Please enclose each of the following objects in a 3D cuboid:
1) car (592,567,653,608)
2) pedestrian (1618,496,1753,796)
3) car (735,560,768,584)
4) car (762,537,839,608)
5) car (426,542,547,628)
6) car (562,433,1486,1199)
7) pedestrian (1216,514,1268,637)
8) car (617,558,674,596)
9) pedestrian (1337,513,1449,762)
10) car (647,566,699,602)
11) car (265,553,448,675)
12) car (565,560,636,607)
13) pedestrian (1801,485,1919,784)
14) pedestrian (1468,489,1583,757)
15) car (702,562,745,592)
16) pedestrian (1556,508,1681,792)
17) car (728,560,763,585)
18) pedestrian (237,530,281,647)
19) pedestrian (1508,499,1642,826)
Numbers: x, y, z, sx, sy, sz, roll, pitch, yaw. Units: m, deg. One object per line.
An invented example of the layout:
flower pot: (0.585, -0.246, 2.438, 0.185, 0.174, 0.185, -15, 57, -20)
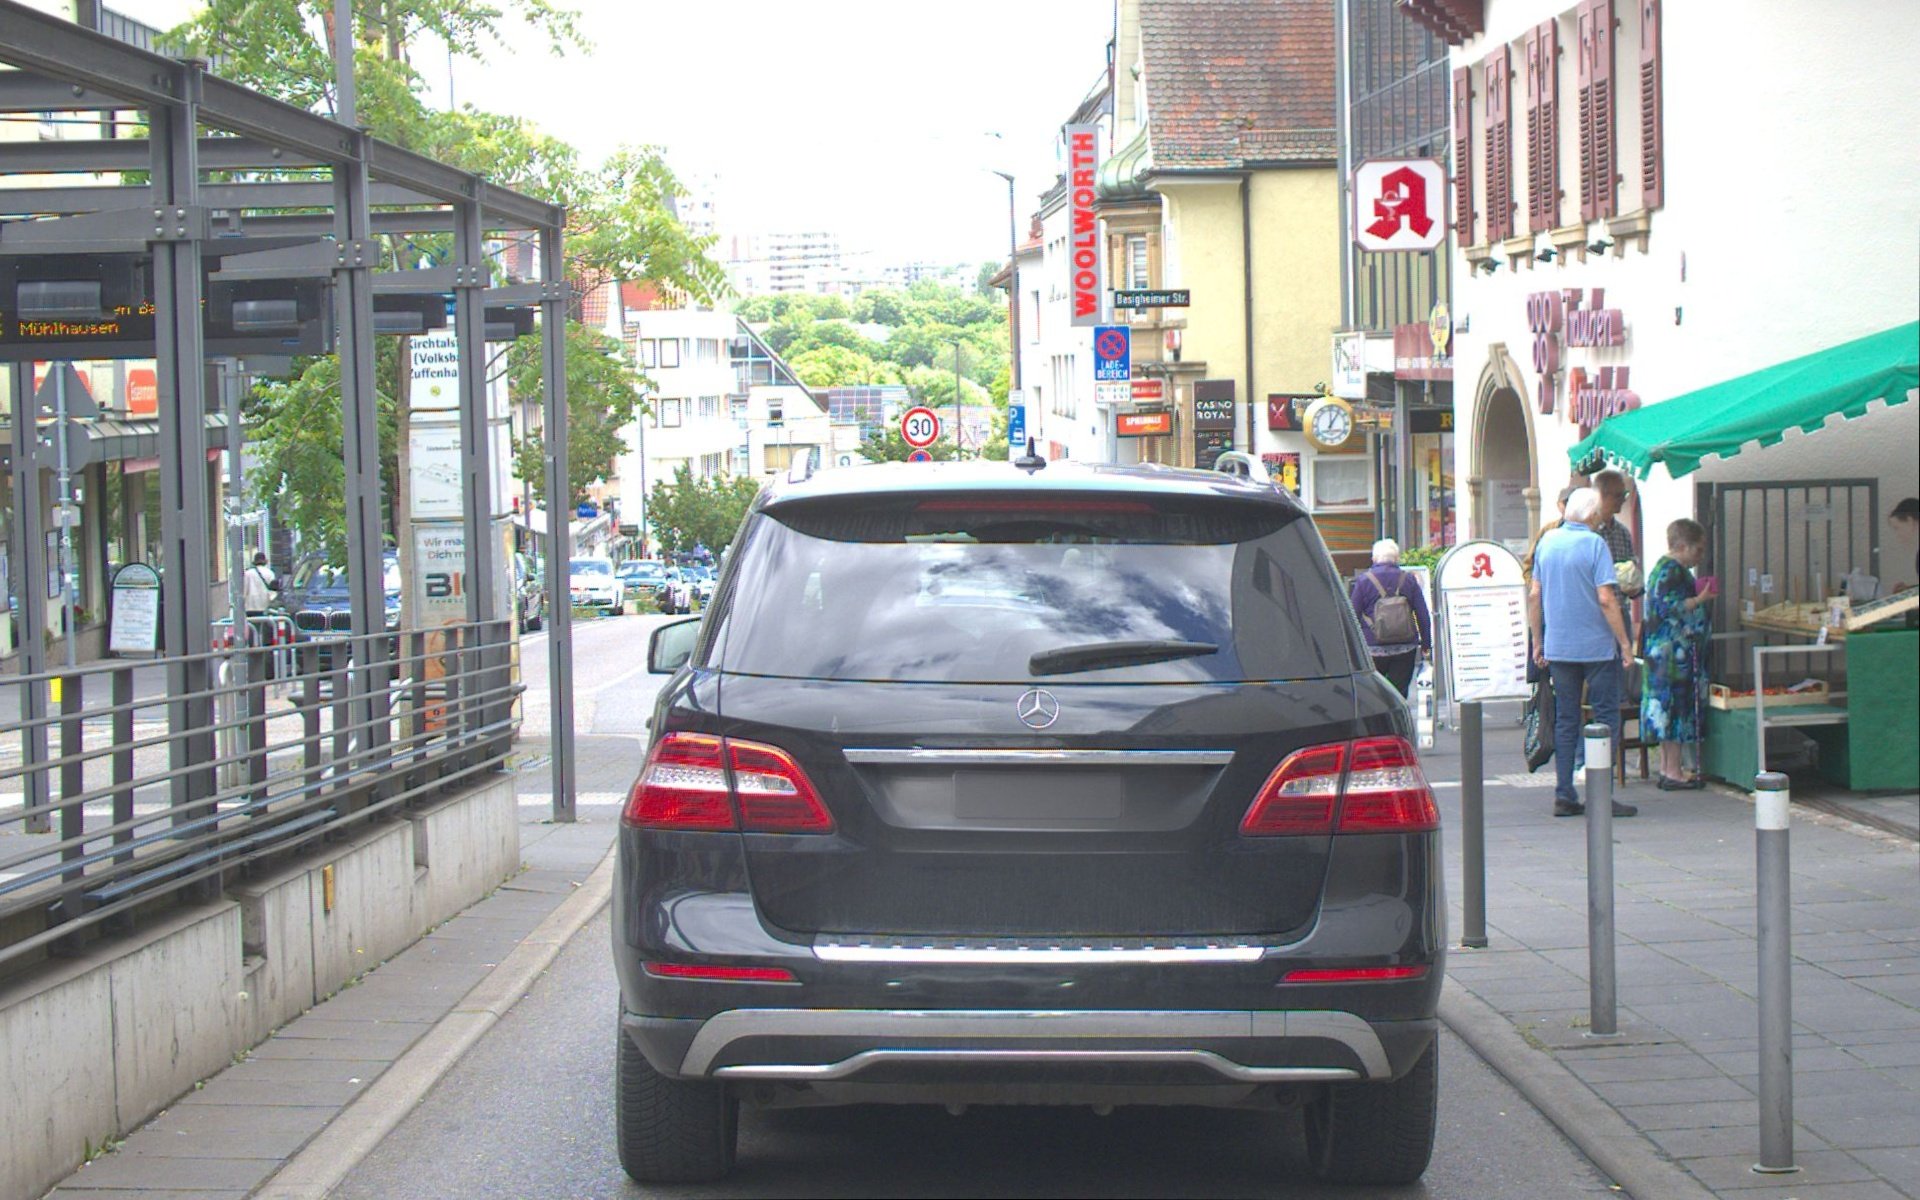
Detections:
car: (-9.441, -0.371, 96.292, 1.388, 1.066, 3.113, -1, 1, 0)
pedestrian: (4.153, 0.254, 19.703, 0.573, 1.683, 0.566, -2, 1, -6)
car: (-9.924, -1.326, 163.902, 1.388, 1.066, 3.113, -1, 1, 0)
car: (-3.946, -0.703, 85.658, 1.770, 1.707, 4.000, 1, 1, -1)
car: (-8.550, -0.289, 62.350, 1.660, 1.484, 3.748, 1, 1, 0)
car: (0.062, 0.502, 9.137, 1.900, 1.741, 4.001, 1, 1, -2)
pedestrian: (3.925, -0.341, 47.904, 0.606, 1.683, 0.724, -1, 1, -1)
car: (-9.338, -0.694, 102.111, 1.388, 1.066, 3.113, -1, 1, 0)
pedestrian: (2.960, 0.252, 23.560, 0.621, 1.683, 0.566, 1, 1, -6)
car: (-9.170, -0.531, 110.110, 1.388, 1.066, 3.113, -1, 1, 0)
car: (-7.863, 0.146, 45.092, 1.689, 1.484, 3.979, 1, 1, 0)
car: (-8.861, -0.422, 84.915, 1.388, 1.066, 3.113, -1, 1, 0)
pedestrian: (5.249, 0.189, 19.841, 0.573, 1.683, 0.566, -2, 1, -6)
pedestrian: (3.870, 0.151, 23.567, 0.639, 1.803, 0.685, 1, 1, -1)
car: (-9.035, -0.900, 131.336, 1.388, 1.066, 3.113, -1, 1, 0)
pedestrian: (3.963, 0.292, 20.711, 0.573, 1.683, 0.566, 1, 1, -6)
car: (-9.875, -1.276, 158.613, 1.388, 1.066, 3.113, -1, 1, 0)
pedestrian: (-10.124, -0.167, 49.659, 0.513, 1.683, 0.541, 1, 1, -1)
pedestrian: (3.304, 0.327, 18.486, 0.542, 1.720, 0.528, -2, 1, -6)
